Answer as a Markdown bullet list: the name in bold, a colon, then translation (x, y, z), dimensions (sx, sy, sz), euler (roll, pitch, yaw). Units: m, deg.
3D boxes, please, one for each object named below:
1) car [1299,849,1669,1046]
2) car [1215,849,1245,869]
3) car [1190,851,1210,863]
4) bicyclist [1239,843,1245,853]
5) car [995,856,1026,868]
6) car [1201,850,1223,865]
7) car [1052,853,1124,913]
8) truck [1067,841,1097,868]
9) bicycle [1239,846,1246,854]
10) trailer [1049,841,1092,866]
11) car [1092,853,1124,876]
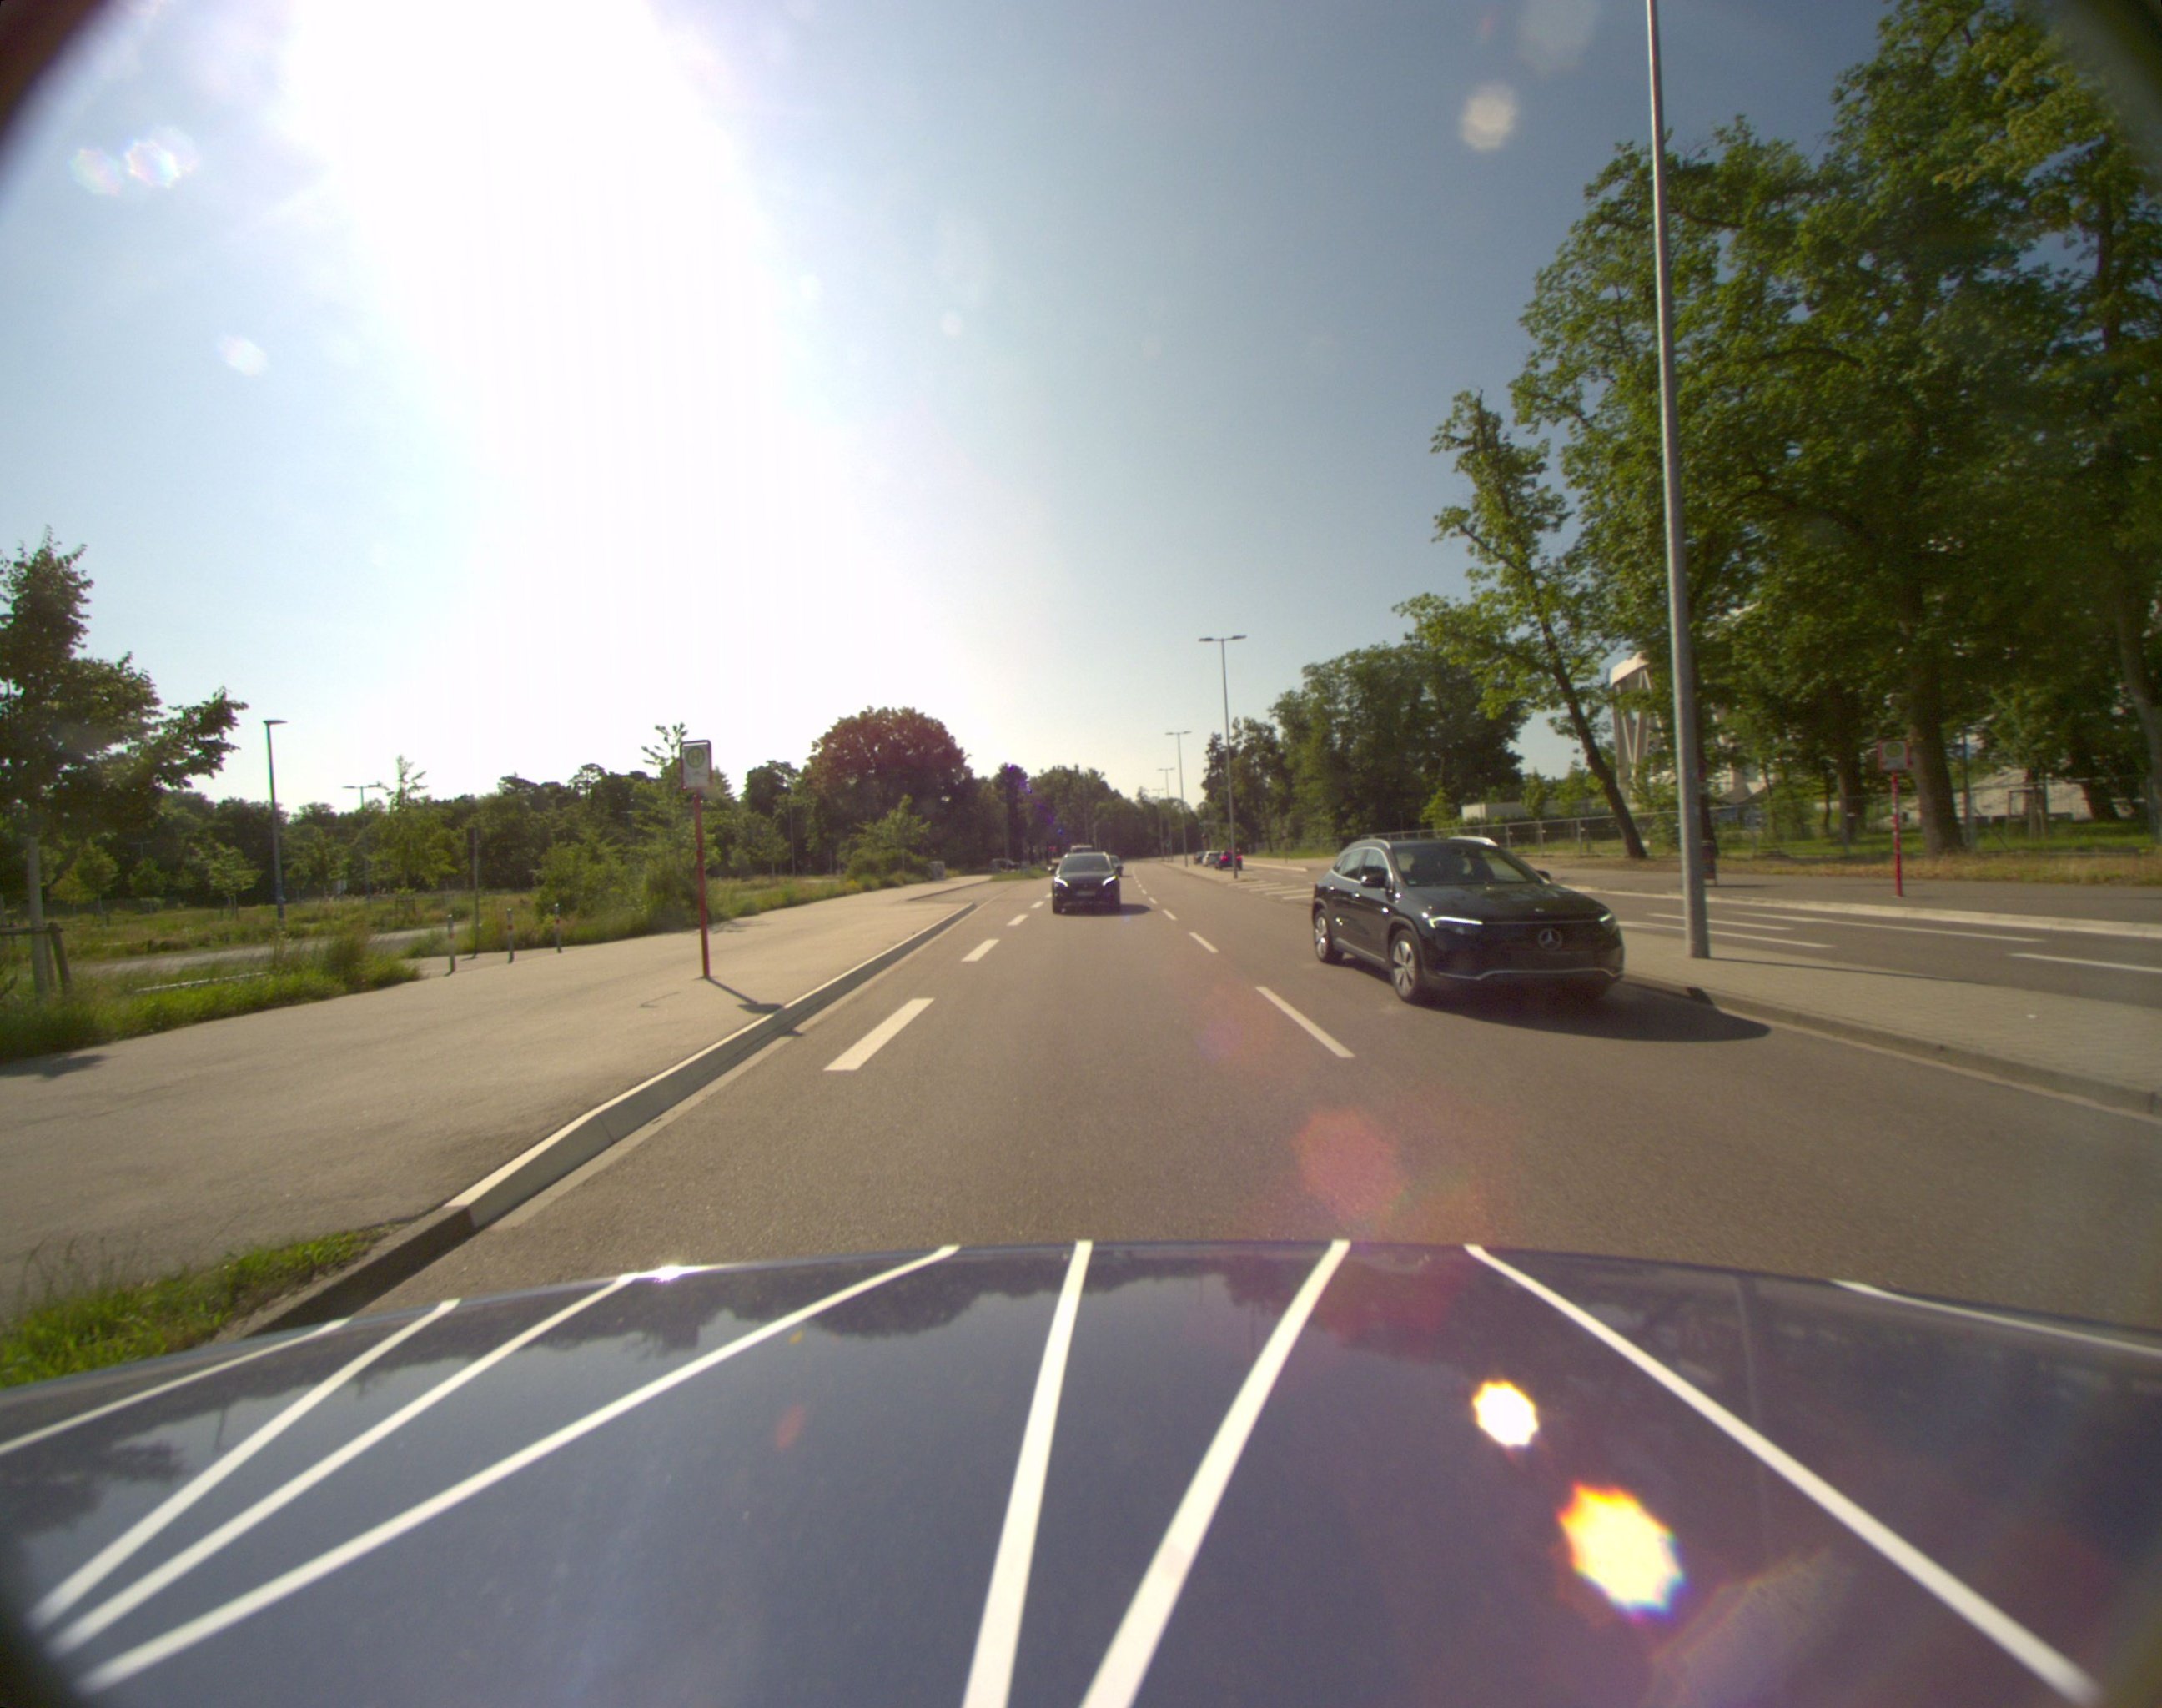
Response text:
- **car**: translation (3.898, 0.752, 8.319), dimensions (1.809, 1.587, 4.273), euler (-1, 0, 0)
- **car**: translation (11.791, 0.381, 60.368), dimensions (1.757, 1.477, 3.948), euler (-1, 0, 3)
- **car**: translation (13.824, 0.324, 88.276), dimensions (1.815, 1.380, 4.162), euler (-1, 0, 3)
- **bicyclist**: translation (23.842, -0.850, 112.434), dimensions (0.661, 1.459, 1.057), euler (-4, 0, 3)
- **car**: translation (-9.636, 1.111, 104.105), dimensions (3.989, 1.475, 1.850), euler (-3, 0, 39)
- **car**: translation (12.765, 0.334, 74.188), dimensions (1.626, 1.458, 3.801), euler (-1, 0, 3)
- **car**: translation (0.308, 0.790, 23.160), dimensions (1.702, 1.581, 4.321), euler (-3, 0, 6)
- **truck**: translation (0.054, 0.009, 83.280), dimensions (2.679, 2.702, 6.201), euler (-3, 0, -4)
- **bicycle**: translation (23.881, -0.518, 112.412), dimensions (0.661, 1.129, 1.879), euler (-4, 0, 3)
- **trailer**: translation (-1.319, 0.027, 89.168), dimensions (2.706, 2.672, 6.878), euler (-3, 0, -20)
- **car**: translation (1.926, 0.696, 52.875), dimensions (1.932, 1.499, 4.001), euler (-3, 0, 5)
